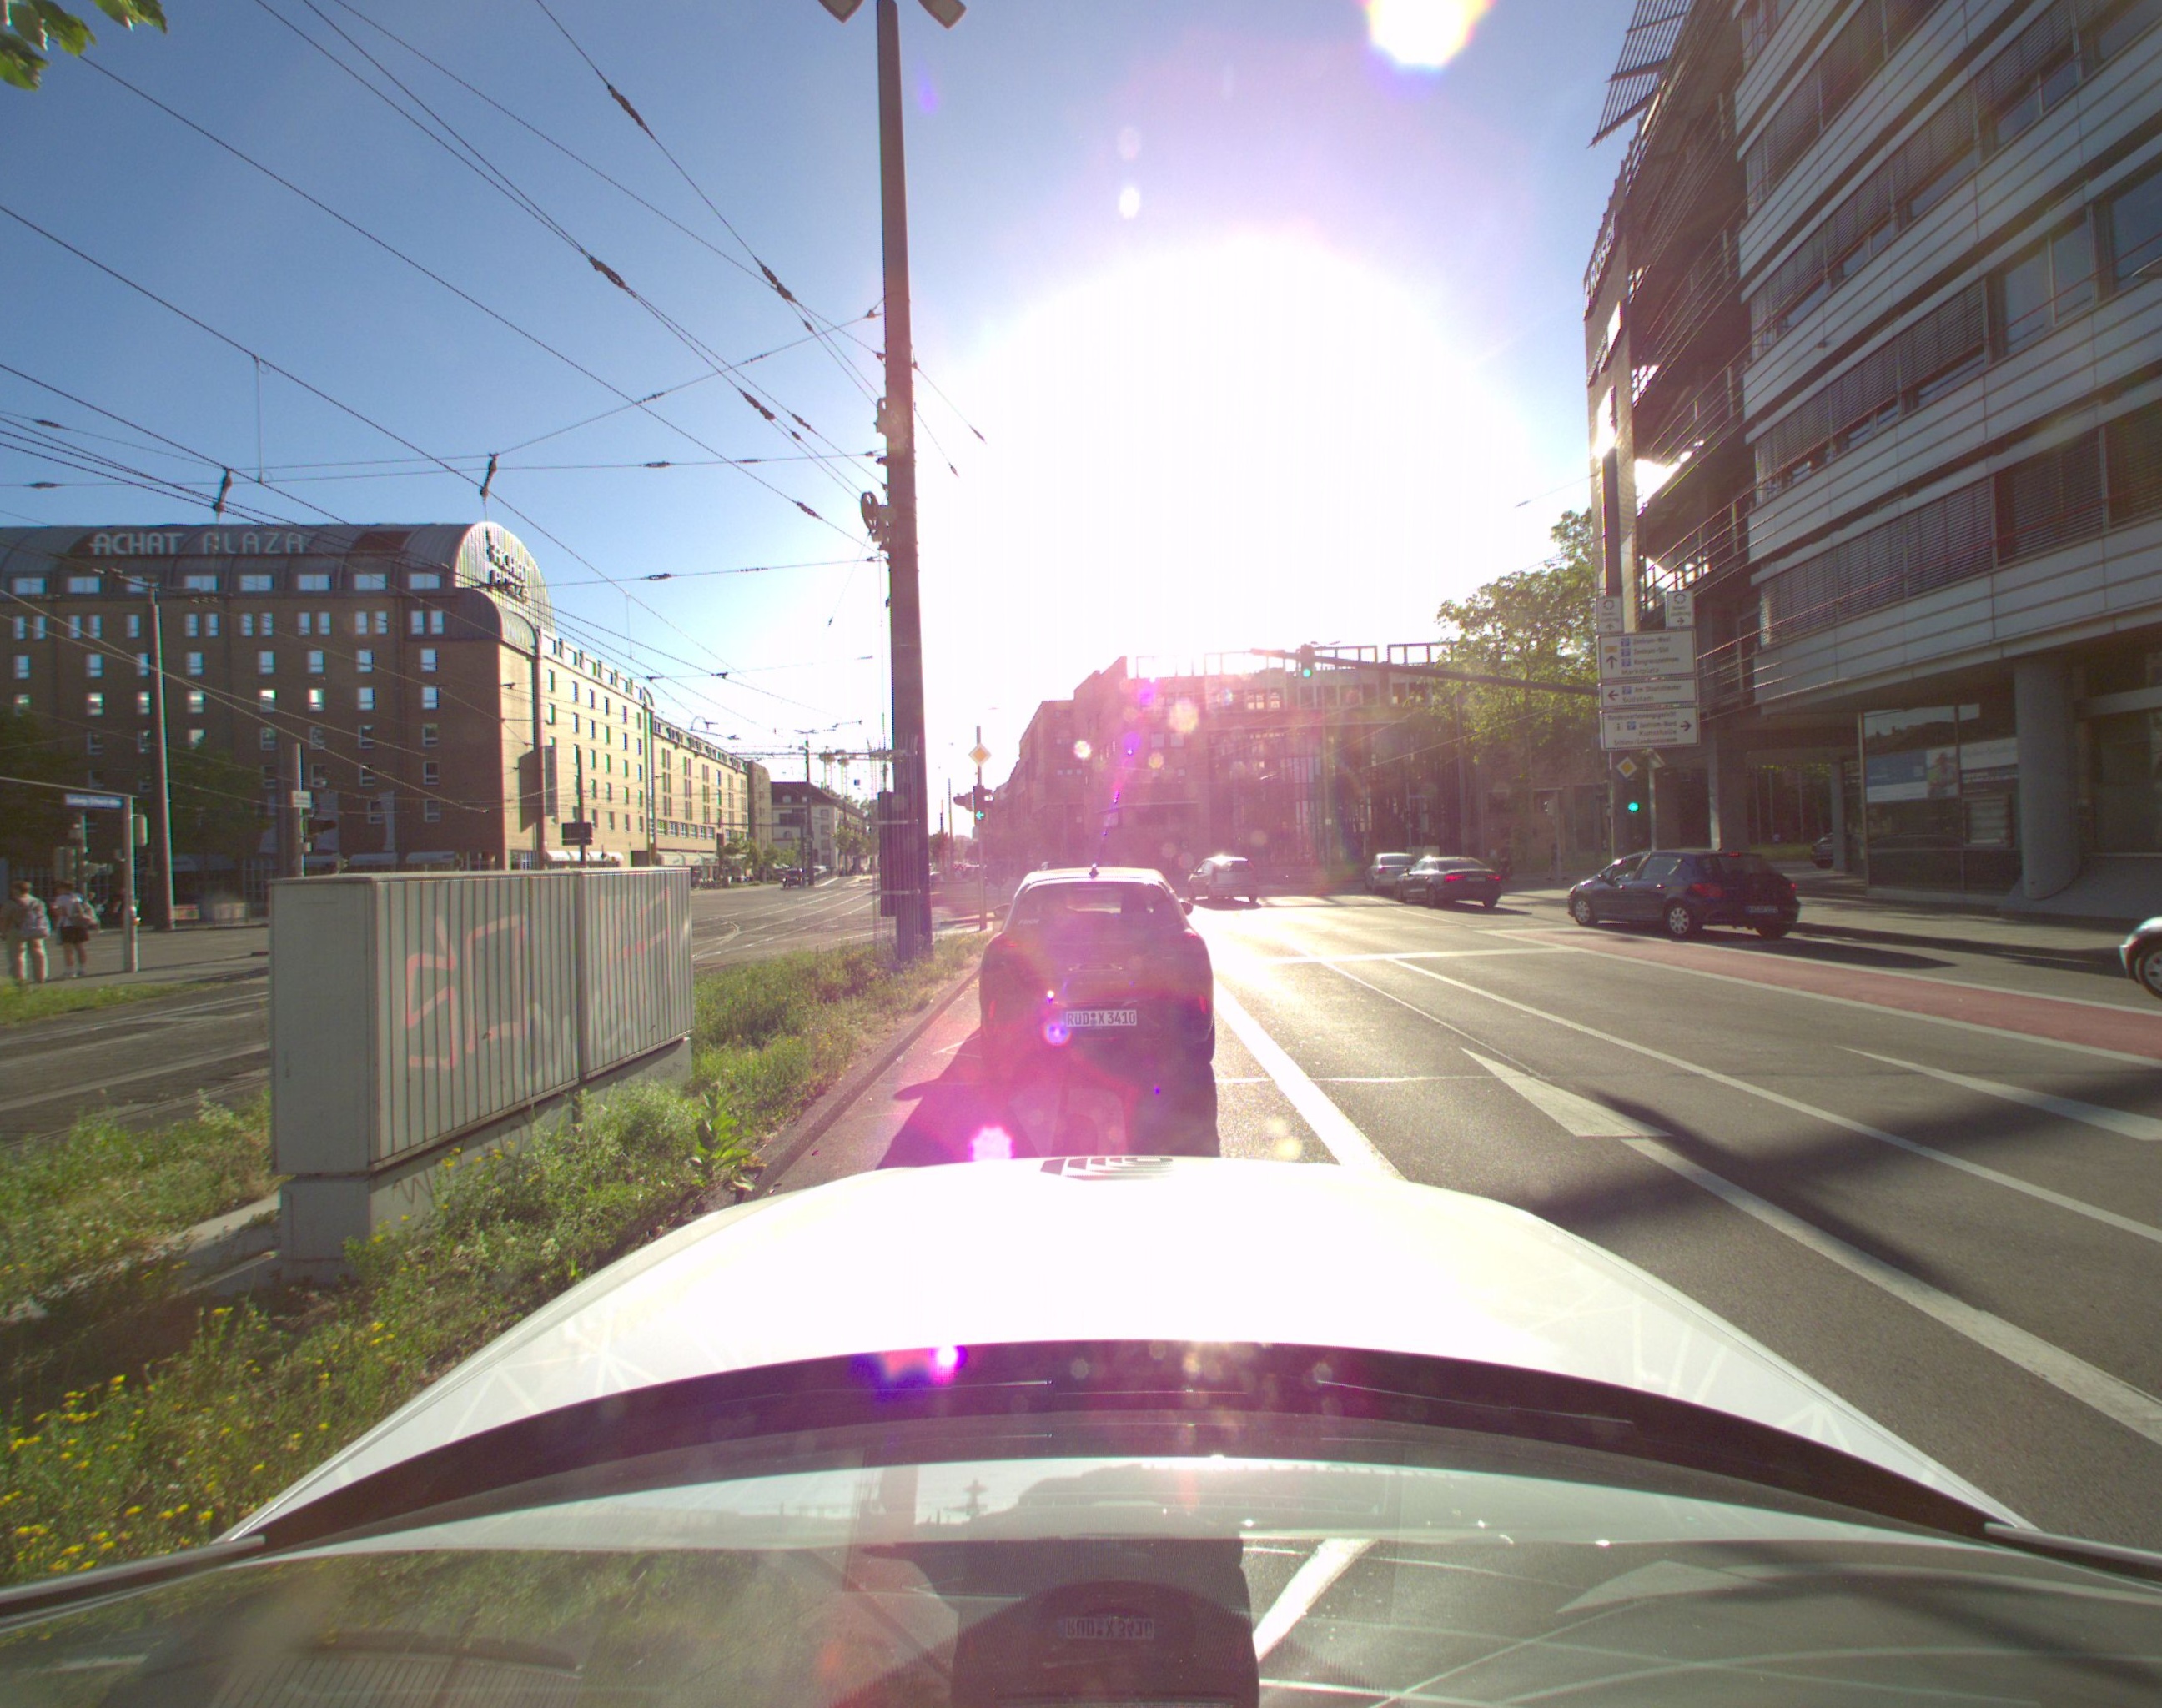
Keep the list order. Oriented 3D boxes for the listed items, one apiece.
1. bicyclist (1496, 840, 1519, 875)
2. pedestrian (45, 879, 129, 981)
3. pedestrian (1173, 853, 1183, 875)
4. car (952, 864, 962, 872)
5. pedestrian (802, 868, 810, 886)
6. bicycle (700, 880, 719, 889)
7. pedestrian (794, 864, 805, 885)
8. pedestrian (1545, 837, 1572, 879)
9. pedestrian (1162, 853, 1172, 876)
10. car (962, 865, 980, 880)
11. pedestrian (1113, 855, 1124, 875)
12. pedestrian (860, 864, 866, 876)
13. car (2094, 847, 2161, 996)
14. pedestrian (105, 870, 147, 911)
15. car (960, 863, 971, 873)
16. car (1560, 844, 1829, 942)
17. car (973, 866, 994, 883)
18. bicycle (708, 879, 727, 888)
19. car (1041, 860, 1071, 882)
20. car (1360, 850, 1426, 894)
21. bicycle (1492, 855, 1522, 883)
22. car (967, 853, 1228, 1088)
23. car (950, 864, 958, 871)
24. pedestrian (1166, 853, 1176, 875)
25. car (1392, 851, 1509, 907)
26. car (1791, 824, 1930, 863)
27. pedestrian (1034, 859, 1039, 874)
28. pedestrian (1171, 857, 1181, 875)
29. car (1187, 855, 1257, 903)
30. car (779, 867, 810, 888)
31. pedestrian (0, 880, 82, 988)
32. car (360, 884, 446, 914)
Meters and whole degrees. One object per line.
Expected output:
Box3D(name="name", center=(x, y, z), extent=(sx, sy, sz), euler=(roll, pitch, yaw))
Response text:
Box3D(name="bicyclist", center=(17.673, 0.124, 33.764), extent=(0.658, 1.407, 0.821), euler=(-1, 1, 39))
Box3D(name="pedestrian", center=(-19.201, 1.445, 15.743), extent=(0.729, 1.869, 0.673), euler=(-2, 0, -2))
Box3D(name="pedestrian", center=(8.176, 0.822, 68.485), extent=(0.573, 1.786, 0.546), euler=(-3, -1, -17))
Box3D(name="car", center=(-22.210, 2.482, 145.462), extent=(1.516, 1.453, 3.570), euler=(-3, 0, -11))
Box3D(name="pedestrian", center=(-24.345, 2.001, 72.137), extent=(0.583, 1.577, 0.642), euler=(-2, -1, -23))
Box3D(name="bicycle", center=(-43.091, 3.486, 94.456), extent=(2.026, 0.921, 0.483), euler=(-3, 0, 1))
Box3D(name="pedestrian", center=(-24.110, 1.727, 69.733), extent=(0.720, 1.727, 0.593), euler=(-2, 0, -8))
Box3D(name="pedestrian", center=(19.829, 0.162, 33.846), extent=(0.786, 1.734, 0.588), euler=(-1, -1, 9))
Box3D(name="pedestrian", center=(7.130, 0.867, 67.155), extent=(0.573, 1.786, 0.546), euler=(-3, -1, -17))
Box3D(name="car", center=(-12.068, 2.010, 89.575), extent=(1.721, 1.453, 3.684), euler=(-3, 0, -11))
Box3D(name="pedestrian", center=(3.417, 1.004, 74.362), extent=(0.642, 1.786, 0.684), euler=(-3, -1, -21))
Box3D(name="pedestrian", center=(-30.979, 2.227, 115.729), extent=(0.863, 1.670, 0.779), euler=(-1, 0, -20))
Box3D(name="car", center=(10.915, 0.621, 6.351), extent=(1.655, 1.389, 3.537), euler=(-1, 0, 1))
Box3D(name="pedestrian", center=(-41.573, 1.582, 35.463), extent=(0.711, 1.680, 0.832), euler=(-2, 1, 2))
Box3D(name="car", center=(-18.010, 2.149, 126.945), extent=(1.516, 1.453, 3.570), euler=(-3, 0, -11))
Box3D(name="car", center=(10.805, 0.611, 14.773), extent=(1.855, 1.475, 3.976), euler=(-2, 0, 0))
Box3D(name="car", center=(-8.960, 1.846, 74.611), extent=(1.720, 1.453, 3.686), euler=(-3, 0, -9))
Box3D(name="bicycle", center=(-42.689, 3.463, 95.638), extent=(2.026, 0.921, 0.483), euler=(-3, 0, 1))
Box3D(name="car", center=(-1.838, 1.231, 59.126), extent=(1.671, 1.453, 3.686), euler=(-3, 0, -9))
Box3D(name="car", center=(11.507, 0.626, 30.251), extent=(1.683, 1.475, 3.996), euler=(-2, 0, 13))
Box3D(name="bicycle", center=(17.684, 0.607, 33.766), extent=(0.658, 1.018, 2.199), euler=(-1, 2, 39))
Box3D(name="car", center=(0.162, 0.758, 7.110), extent=(1.665, 1.502, 3.692), euler=(-1, 0, 2))
Box3D(name="car", center=(-24.883, 2.638, 159.471), extent=(1.516, 1.453, 3.570), euler=(-3, 0, -11))
Box3D(name="pedestrian", center=(7.508, 0.848, 67.888), extent=(0.573, 1.786, 0.546), euler=(-3, -1, -17))
Box3D(name="car", center=(10.641, 0.695, 23.756), extent=(1.688, 1.440, 4.021), euler=(-1, -1, 2))
Box3D(name="car", center=(32.521, -0.423, 34.078), extent=(3.948, 1.475, 1.869), euler=(-2, 0, 3))
Box3D(name="pedestrian", center=(-5.597, 1.552, 102.740), extent=(0.547, 1.786, 0.572), euler=(-2, 2, -7))
Box3D(name="pedestrian", center=(8.074, 1.032, 69.374), extent=(0.550, 1.477, 0.568), euler=(-2, 0, -27))
Box3D(name="car", center=(4.690, 0.794, 27.477), extent=(1.556, 1.456, 3.427), euler=(-2, 0, -3))
Box3D(name="car", center=(-27.850, 2.281, 79.345), extent=(1.837, 1.836, 4.098), euler=(-4, 0, -6))
Box3D(name="pedestrian", center=(-19.016, 1.435, 14.829), extent=(0.729, 1.869, 0.699), euler=(-2, 0, 1))
Box3D(name="car", center=(-42.273, 2.803, 50.867), extent=(3.872, 1.601, 1.600), euler=(-2, 0, -29))
